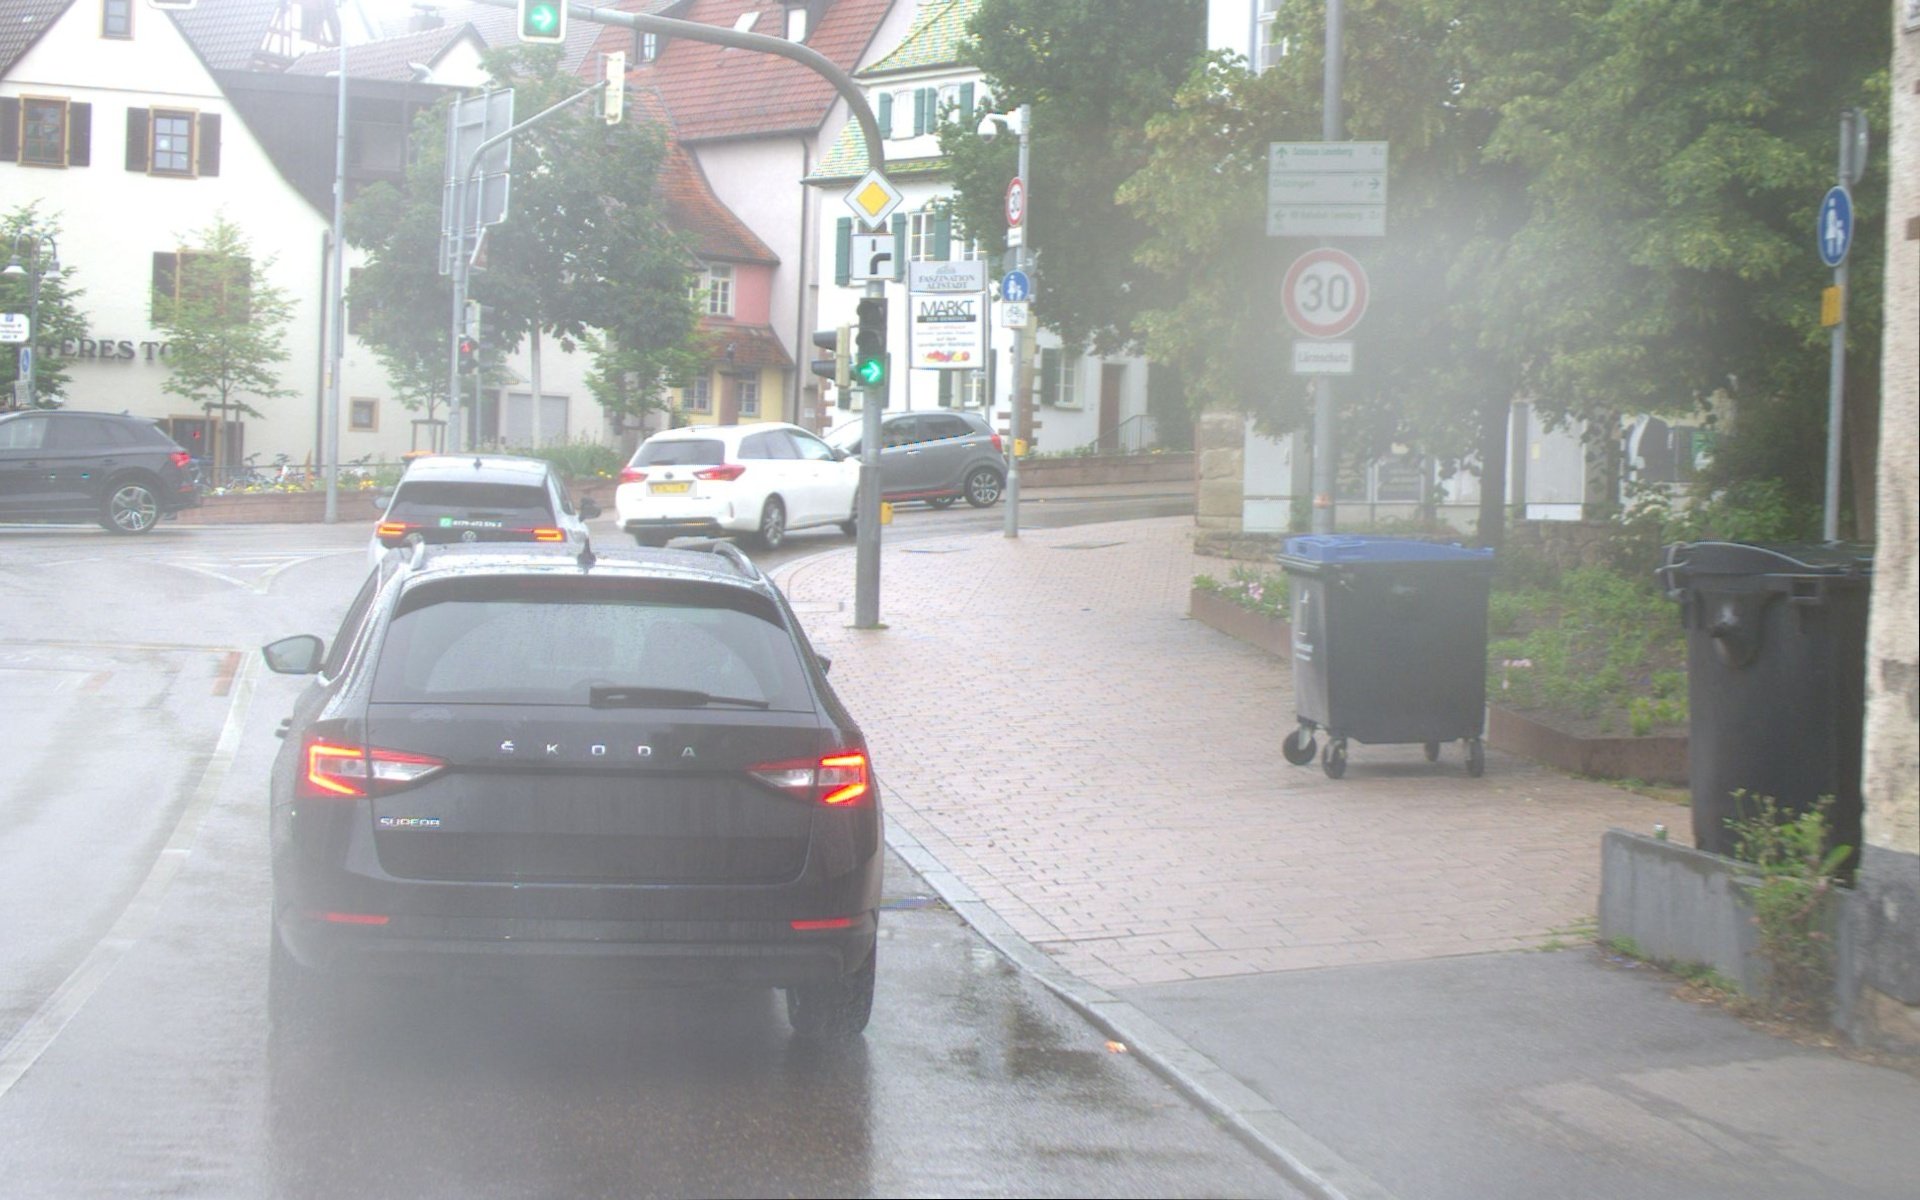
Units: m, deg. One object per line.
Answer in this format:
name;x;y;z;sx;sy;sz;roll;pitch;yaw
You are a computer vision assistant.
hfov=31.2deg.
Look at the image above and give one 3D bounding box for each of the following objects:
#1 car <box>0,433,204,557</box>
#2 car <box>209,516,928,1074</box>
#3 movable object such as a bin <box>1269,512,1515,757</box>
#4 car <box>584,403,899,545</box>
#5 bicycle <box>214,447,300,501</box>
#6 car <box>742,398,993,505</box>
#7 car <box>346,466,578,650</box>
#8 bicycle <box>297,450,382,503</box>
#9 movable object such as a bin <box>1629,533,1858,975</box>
car;-12.650;-1.427;45.964;4.732;1.582;1.831;0;3;-21
car;-1.380;0.478;11.338;1.886;1.443;4.358;1;2;-9
movable object such as a bin;2.397;0.174;19.244;1.154;1.308;1.186;1;2;-3
car;-2.558;-1.503;41.311;1.888;1.590;4.320;2;2;25
bicycle;-12.434;-2.227;60.803;1.466;0.909;0.392;-1;6;-41
car;-1.377;-2.186;50.653;3.378;1.472;1.536;1;2;-17
car;-4.316;-0.415;30.117;1.856;1.468;4.001;1;2;-7
bicycle;-11.103;-2.206;61.549;1.466;0.909;0.392;-1;6;-41
movable object such as a bin;2.629;0.502;11.556;0.412;1.437;0.644;1;-1;-32
